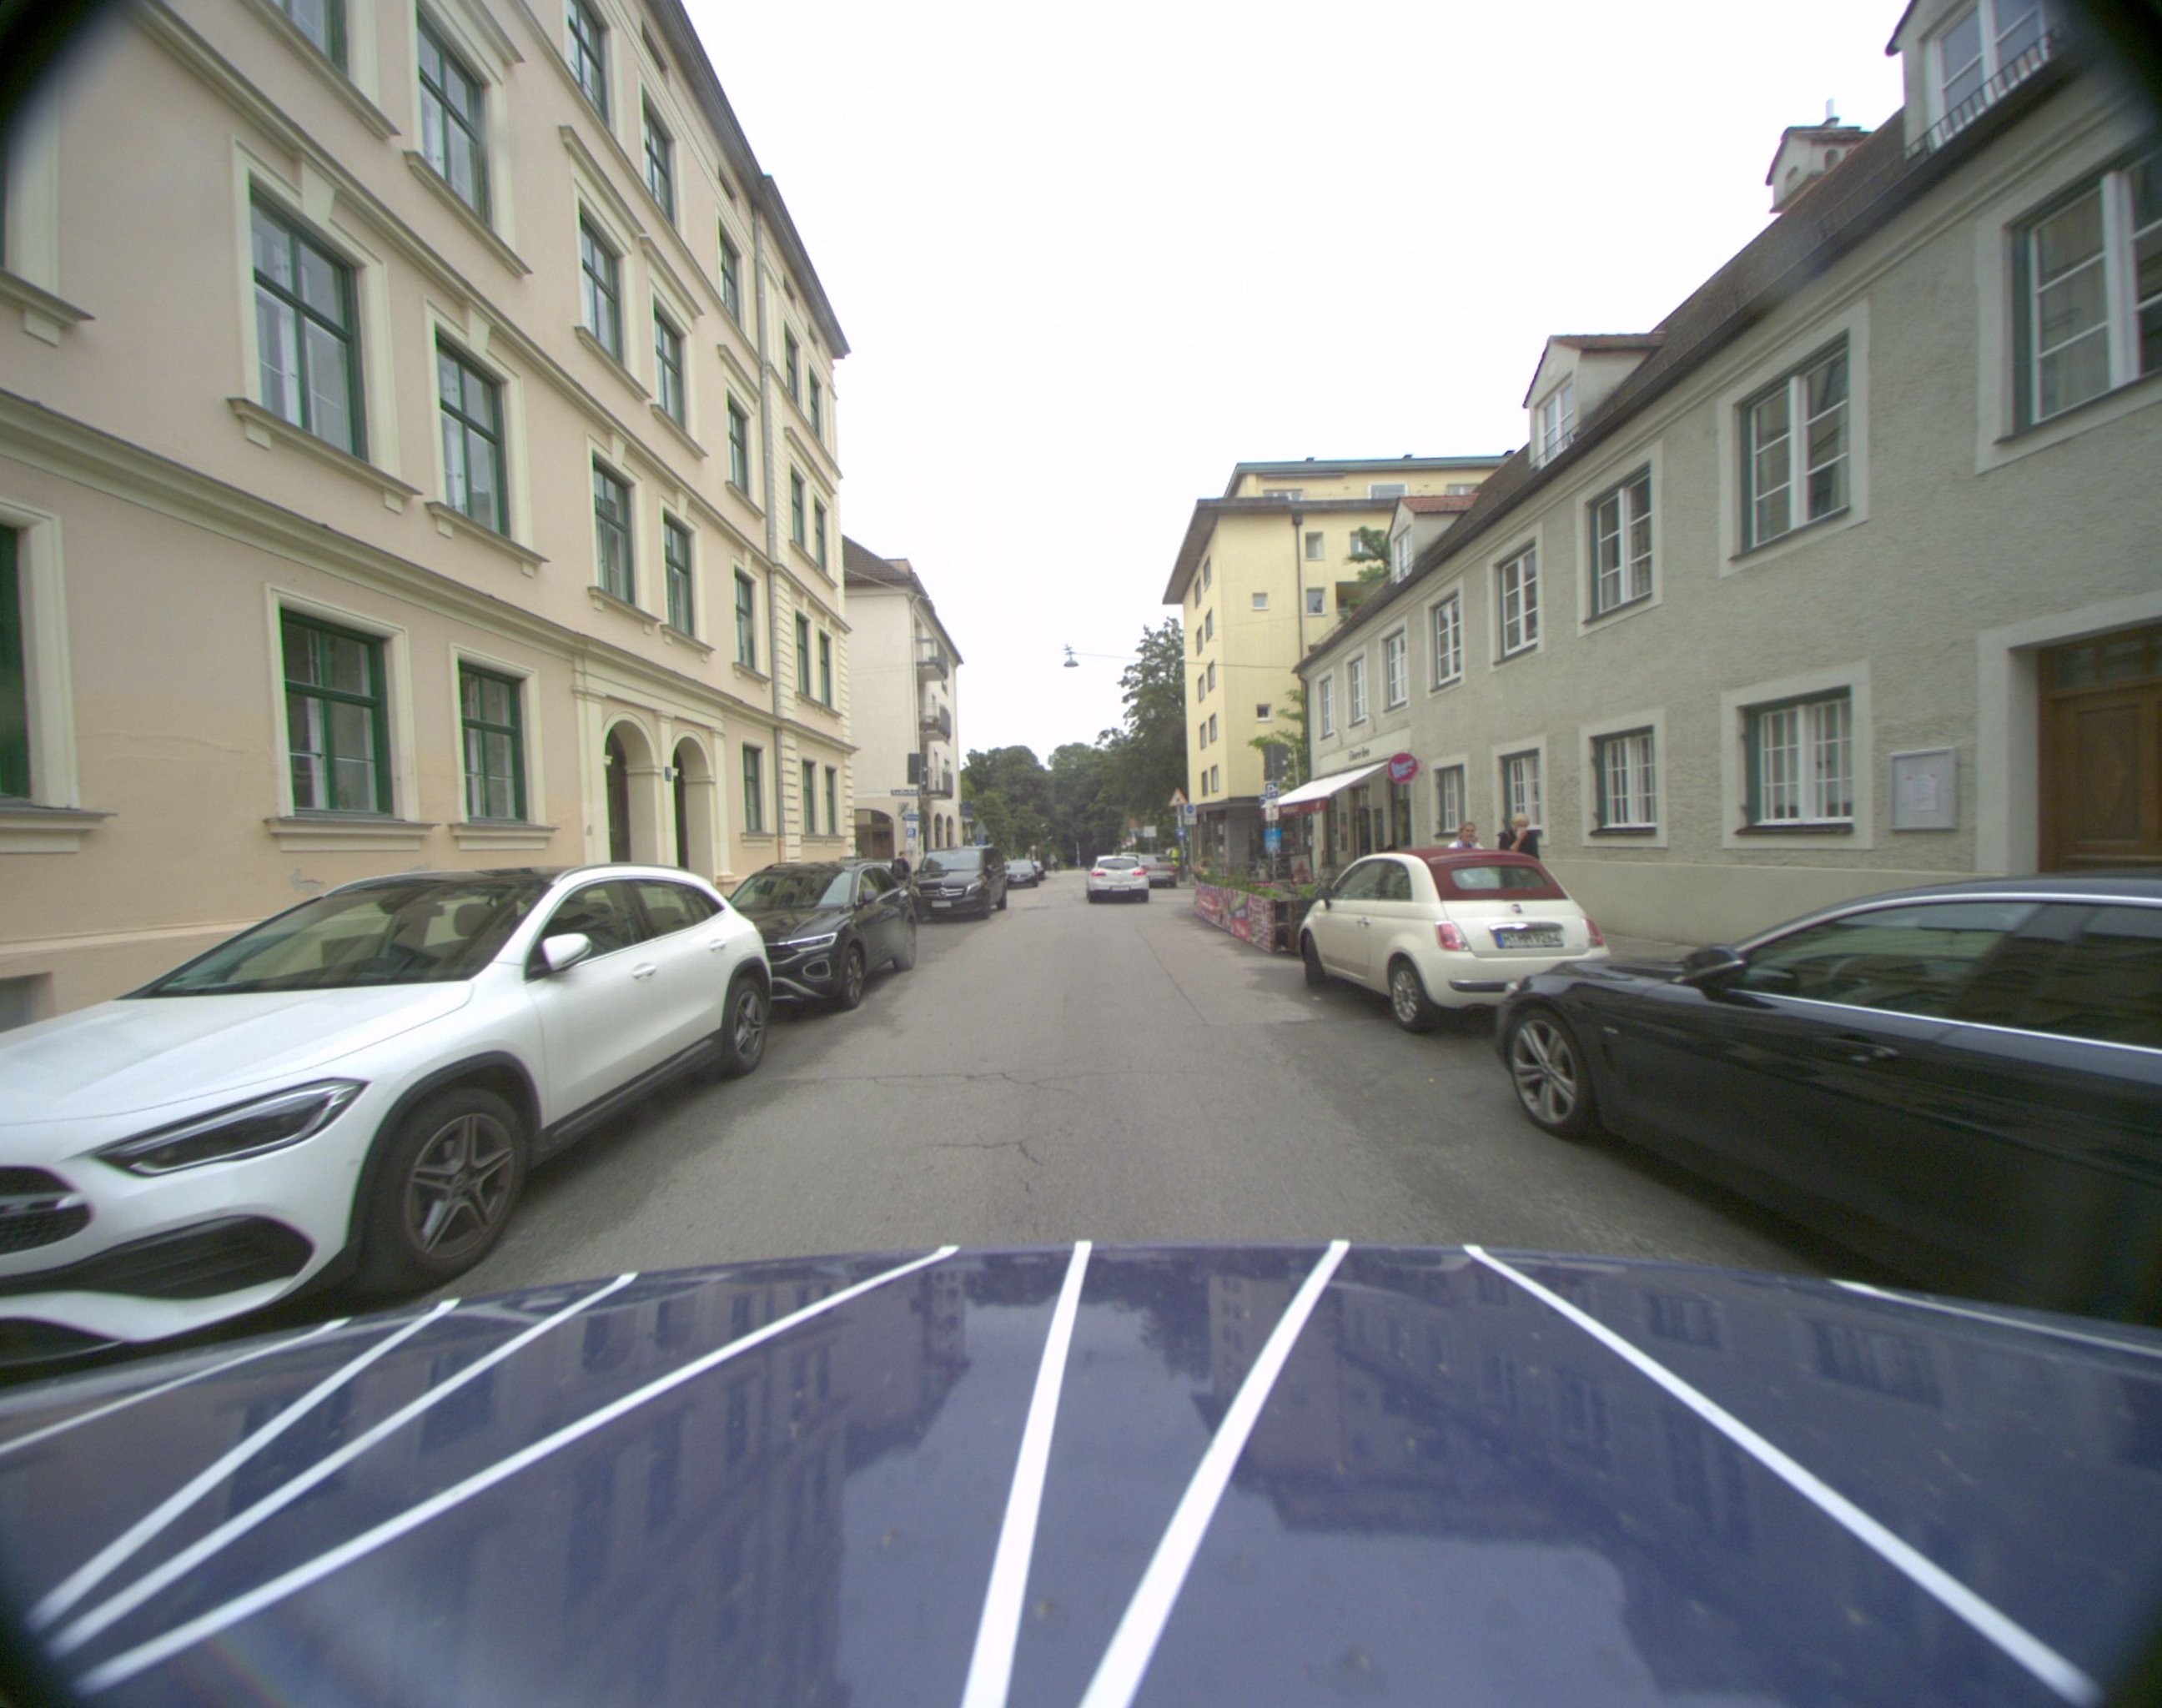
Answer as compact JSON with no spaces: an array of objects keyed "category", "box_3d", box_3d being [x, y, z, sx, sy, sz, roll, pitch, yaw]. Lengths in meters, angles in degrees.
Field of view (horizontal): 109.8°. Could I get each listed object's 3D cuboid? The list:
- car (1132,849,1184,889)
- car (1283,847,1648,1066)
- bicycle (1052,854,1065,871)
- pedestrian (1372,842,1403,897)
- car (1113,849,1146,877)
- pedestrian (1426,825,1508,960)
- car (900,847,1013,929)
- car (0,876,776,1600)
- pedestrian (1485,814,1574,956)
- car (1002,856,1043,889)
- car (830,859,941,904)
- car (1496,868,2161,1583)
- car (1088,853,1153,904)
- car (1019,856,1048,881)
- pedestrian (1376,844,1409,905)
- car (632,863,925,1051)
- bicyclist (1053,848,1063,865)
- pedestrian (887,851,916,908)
[{"category":"car","box_3d":[3.234,0.588,32.544,1.711,1.491,3.999,-2,1,0]},{"category":"car","box_3d":[3.278,0.731,7.263,1.573,1.506,3.422,-3,1,-3]},{"category":"bicycle","box_3d":[-1.941,0.692,65.652,0.689,1.371,2.398,-3,1,6]},{"category":"pedestrian","box_3d":[6.876,0.347,17.061,0.509,1.206,0.595,-4,-1,14]},{"category":"car","box_3d":[2.928,0.494,46.597,1.711,1.550,3.999,-2,1,0]},{"category":"pedestrian","box_3d":[4.737,0.454,9.361,0.614,1.589,0.662,-2,1,-3]},{"category":"car","box_3d":[-3.155,0.770,20.415,1.998,1.850,5.113,-2,1,2]},{"category":"car","box_3d":[-3.321,1.029,3.980,1.721,1.592,4.322,-2,1,-1]},{"category":"pedestrian","box_3d":[5.589,0.367,9.506,0.582,1.689,0.806,-2,1,-3]},{"category":"car","box_3d":[-2.893,0.879,38.121,1.711,1.491,3.999,-2,1,0]},{"category":"car","box_3d":[-7.791,1.075,30.552,3.998,1.557,1.712,-2,1,-3]},{"category":"car","box_3d":[3.264,0.850,2.066,1.862,1.393,4.268,-3,1,0]},{"category":"car","box_3d":[1.172,0.707,23.998,1.793,1.409,3.904,-1,1,0]},{"category":"car","box_3d":[-3.184,0.940,51.395,1.711,1.491,3.999,-2,1,0]},{"category":"pedestrian","box_3d":[6.695,0.433,16.340,0.523,1.258,0.548,-4,-1,14]},{"category":"car","box_3d":[-3.189,0.973,9.021,1.721,1.557,4.142,-2,1,1]},{"category":"bicyclist","box_3d":[-1.978,0.217,65.562,0.650,1.466,0.767,-3,1,6]},{"category":"pedestrian","box_3d":[-5.783,0.816,24.491,0.698,1.792,0.730,-2,1,0]}]
